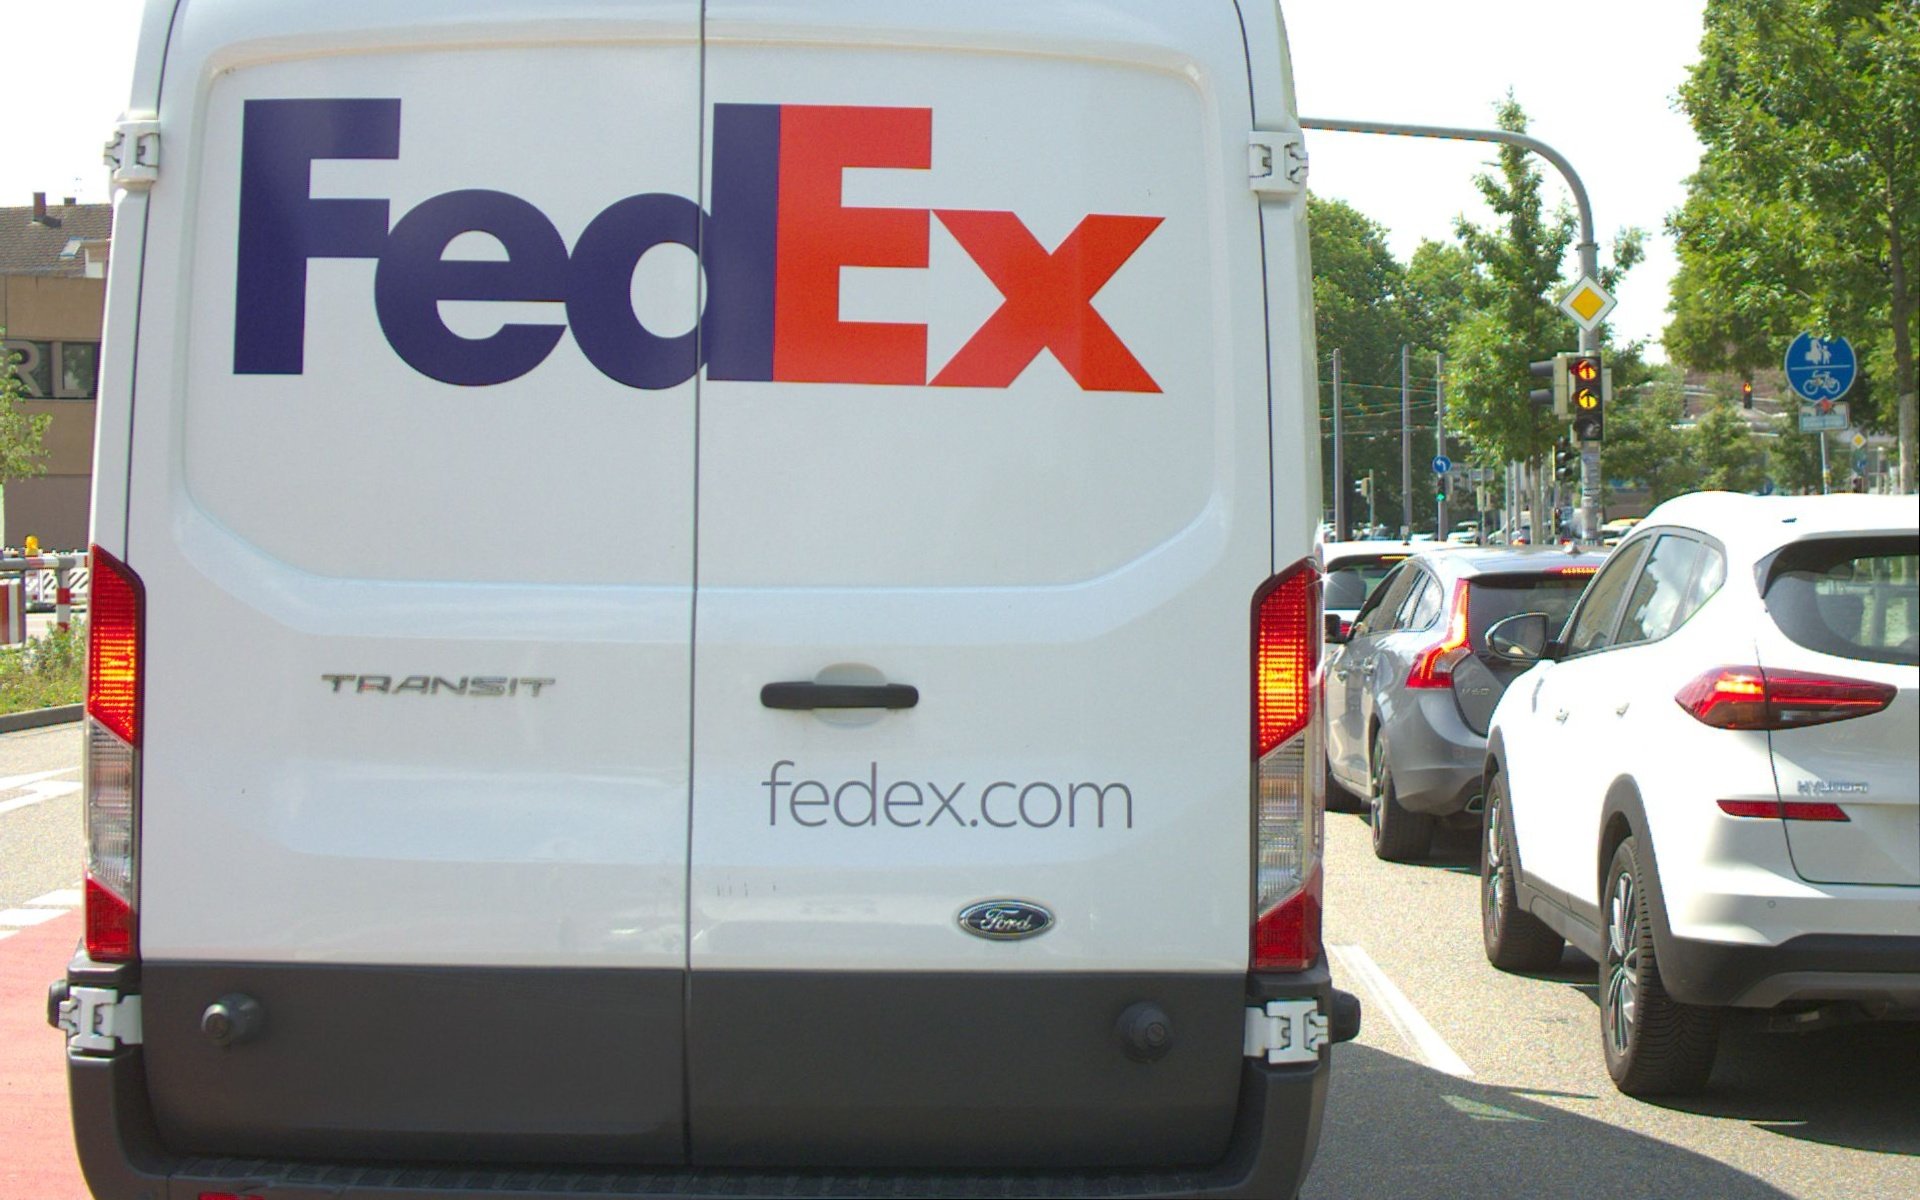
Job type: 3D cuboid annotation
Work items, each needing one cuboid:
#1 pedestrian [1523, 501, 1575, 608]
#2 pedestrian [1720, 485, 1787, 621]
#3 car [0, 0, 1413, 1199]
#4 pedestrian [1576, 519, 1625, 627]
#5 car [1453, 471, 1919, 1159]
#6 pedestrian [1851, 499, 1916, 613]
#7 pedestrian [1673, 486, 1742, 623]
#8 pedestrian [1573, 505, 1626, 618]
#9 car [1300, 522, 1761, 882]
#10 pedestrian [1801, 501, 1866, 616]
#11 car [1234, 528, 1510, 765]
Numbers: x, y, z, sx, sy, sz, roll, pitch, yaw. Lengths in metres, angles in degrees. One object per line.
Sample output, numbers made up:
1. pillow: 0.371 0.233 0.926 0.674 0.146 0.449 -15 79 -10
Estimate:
1. pedestrian: 10.273 -0.793 59.977 0.813 1.843 0.761 0 1 3
2. pedestrian: 10.921 -0.654 47.352 0.759 1.843 0.816 -1 1 3
3. car: -0.349 0.072 7.203 2.072 2.572 4.428 0 1 1
4. pedestrian: 11.005 -0.465 59.048 0.759 1.843 0.816 0 1 15
5. car: 2.648 0.470 10.342 1.814 1.673 3.974 0 1 1
6. pedestrian: 15.130 -0.732 56.307 0.758 1.843 0.816 -1 1 -8
7. pedestrian: 10.179 -0.629 46.849 0.759 1.843 0.816 -1 1 1
8. pedestrian: 10.548 -0.644 56.688 0.759 1.843 0.815 0 1 18
9. car: 2.667 0.404 16.822 1.691 1.543 3.720 0 1 1
10. pedestrian: 14.232 -0.682 56.029 0.758 1.843 0.816 -1 1 -10
11. car: 2.726 0.260 23.319 1.499 1.459 3.474 0 1 1
